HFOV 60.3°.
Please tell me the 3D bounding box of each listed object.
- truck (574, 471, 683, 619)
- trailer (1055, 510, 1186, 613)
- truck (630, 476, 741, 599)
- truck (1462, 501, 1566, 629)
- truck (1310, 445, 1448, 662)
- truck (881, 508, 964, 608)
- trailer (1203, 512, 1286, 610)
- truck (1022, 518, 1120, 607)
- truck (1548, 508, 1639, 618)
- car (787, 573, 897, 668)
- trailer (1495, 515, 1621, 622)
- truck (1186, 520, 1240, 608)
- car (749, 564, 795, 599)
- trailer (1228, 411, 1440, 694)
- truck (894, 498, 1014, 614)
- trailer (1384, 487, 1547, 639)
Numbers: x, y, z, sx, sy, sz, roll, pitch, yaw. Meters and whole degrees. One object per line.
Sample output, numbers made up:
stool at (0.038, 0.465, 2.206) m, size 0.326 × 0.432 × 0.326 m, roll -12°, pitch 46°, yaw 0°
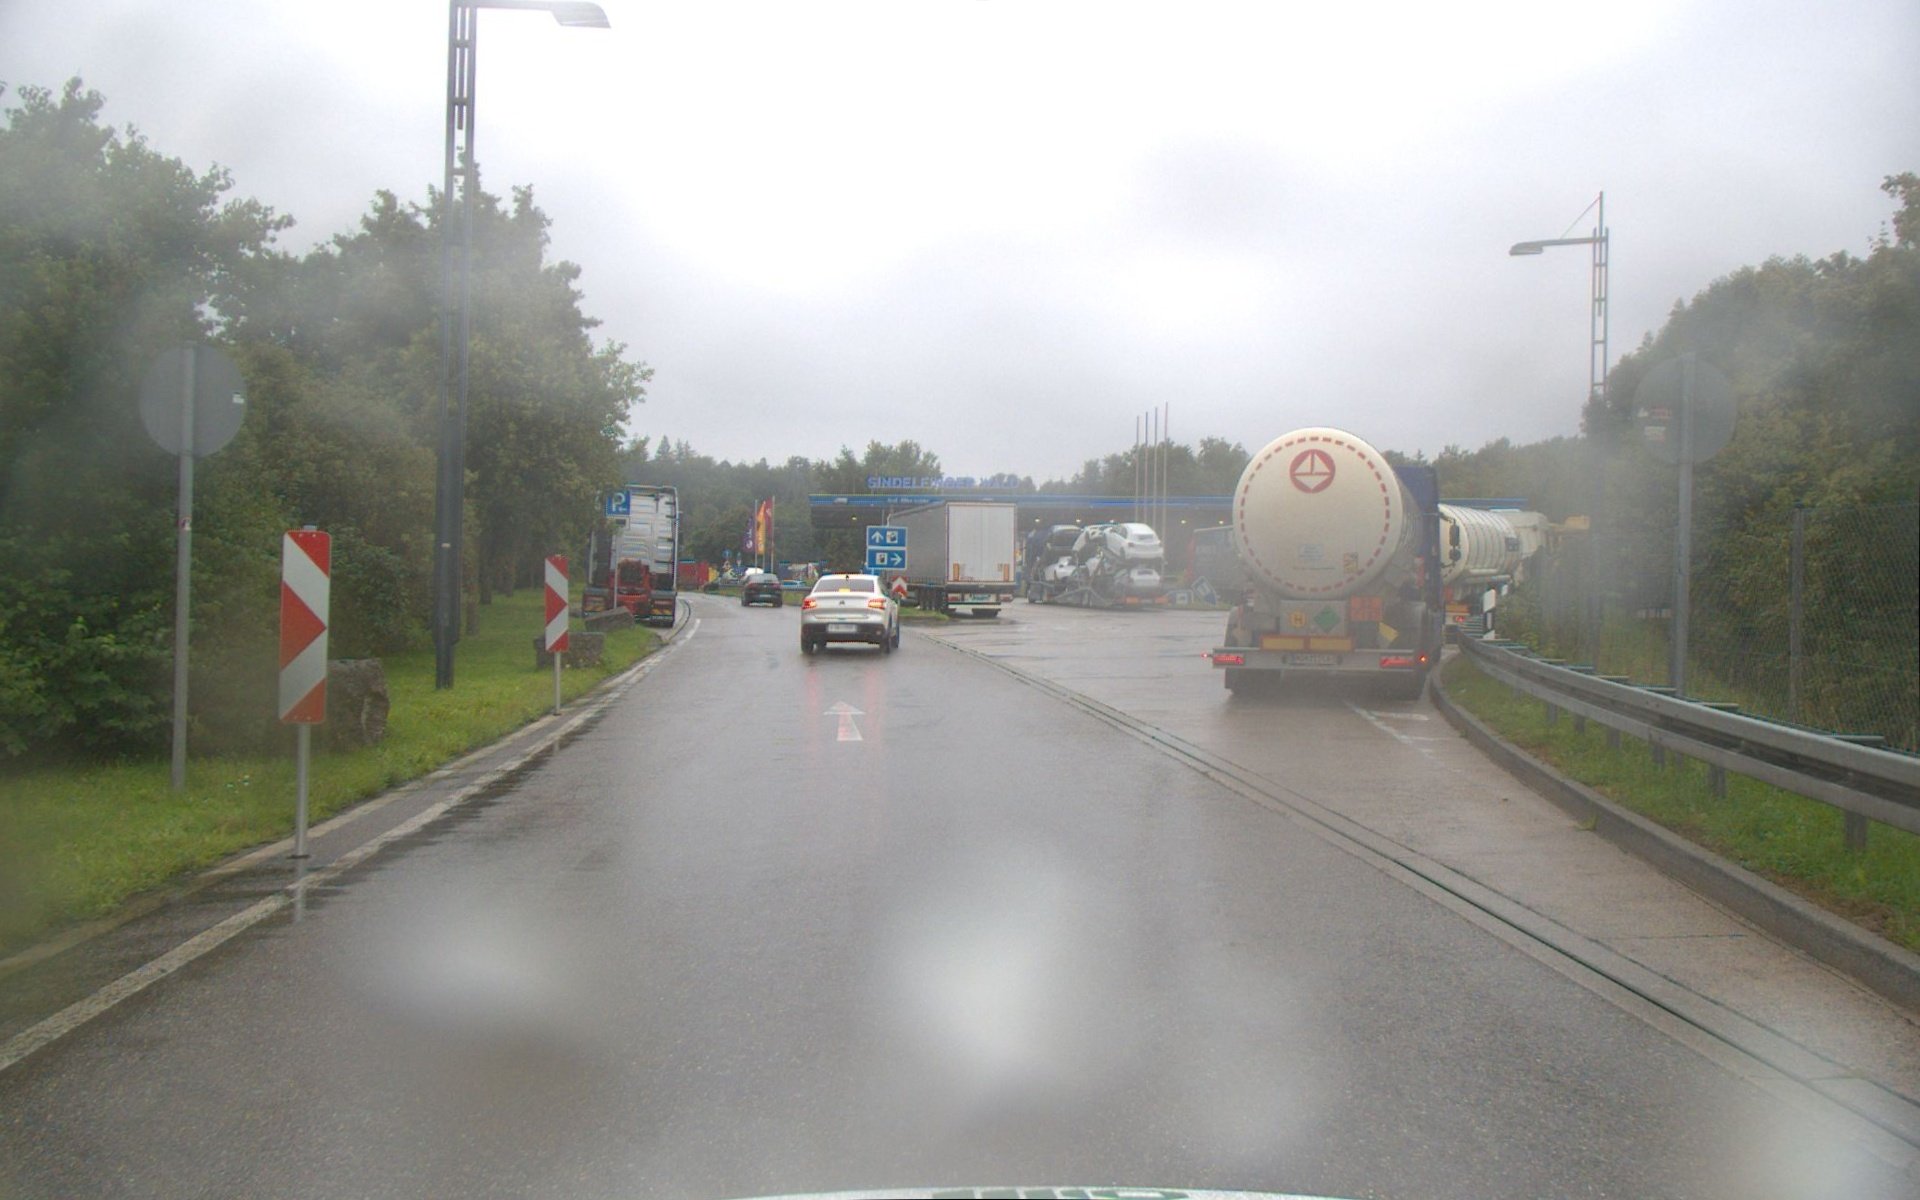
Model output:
truck at (-9.526, -1.529, 47.897) m, size 2.863 × 3.972 × 6.301 m, roll 1°, pitch 1°, yaw -10°
trailer at (7.116, -1.758, 75.491) m, size 3.156 × 4.261 × 11.507 m, roll 1°, pitch 1°, yaw -9°
truck at (-13.347, -2.901, 79.394) m, size 4.708 × 5.398 × 11.036 m, roll 1°, pitch 1°, yaw -12°
truck at (16.348, -1.011, 48.682) m, size 2.105 × 3.574 × 4.639 m, roll 1°, pitch 1°, yaw 29°
truck at (7.682, -0.807, 30.020) m, size 2.010 × 3.592 × 4.748 m, roll 1°, pitch 1°, yaw 19°
truck at (-1.638, -1.731, 69.054) m, size 2.328 × 3.941 × 6.994 m, roll 0°, pitch 1°, yaw -11°
trailer at (14.243, -1.886, 83.617) m, size 1.954 × 4.639 × 9.804 m, roll 1°, pitch 0°, yaw -3°
truck at (5.622, -1.941, 85.391) m, size 3.174 × 4.261 × 8.428 m, roll 1°, pitch 1°, yaw -9°
truck at (23.276, -1.348, 60.702) m, size 2.144 × 3.895 × 4.127 m, roll 1°, pitch 1°, yaw 35°
car at (-2.286, 0.402, 33.010) m, size 1.953 × 1.708 × 3.998 m, roll 2°, pitch -1°, yaw -2°
trailer at (20.745, -1.077, 57.111) m, size 2.146 × 3.451 × 7.536 m, roll 1°, pitch 1°, yaw 35°
truck at (13.871, -1.951, 90.921) m, size 1.948 × 4.629 × 4.792 m, roll 1°, pitch 0°, yaw -3°
car at (-8.381, -0.827, 74.033) m, size 1.841 × 1.487 × 3.997 m, roll 2°, pitch 0°, yaw -4°
trailer at (5.805, -0.612, 24.362) m, size 1.939 × 3.281 × 10.325 m, roll 1°, pitch 1°, yaw 19°
truck at (-0.440, -1.638, 62.873) m, size 2.328 × 3.941 × 12.423 m, roll 0°, pitch 1°, yaw -11°
trailer at (13.385, -0.922, 43.150) m, size 2.091 × 3.500 × 10.238 m, roll 1°, pitch 1°, yaw 28°
